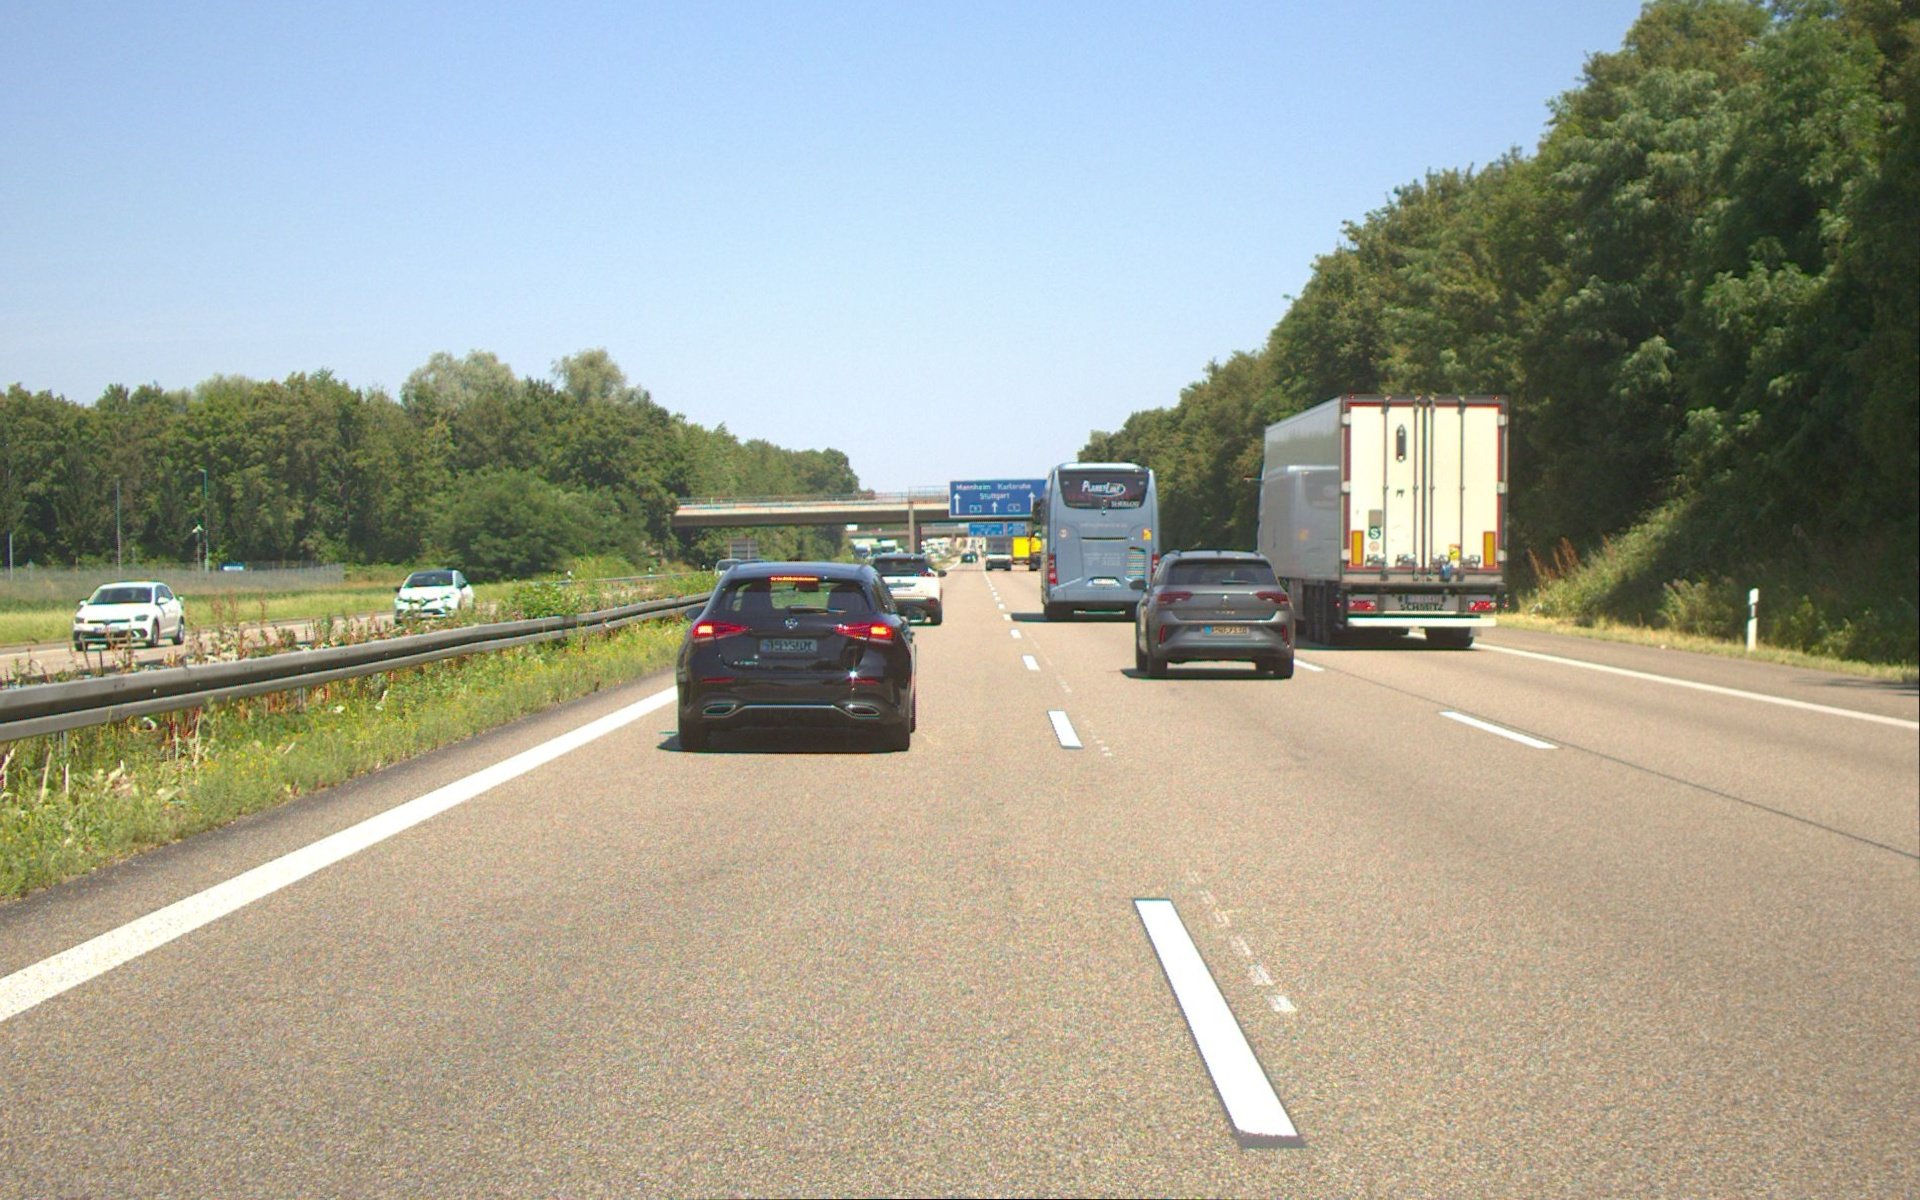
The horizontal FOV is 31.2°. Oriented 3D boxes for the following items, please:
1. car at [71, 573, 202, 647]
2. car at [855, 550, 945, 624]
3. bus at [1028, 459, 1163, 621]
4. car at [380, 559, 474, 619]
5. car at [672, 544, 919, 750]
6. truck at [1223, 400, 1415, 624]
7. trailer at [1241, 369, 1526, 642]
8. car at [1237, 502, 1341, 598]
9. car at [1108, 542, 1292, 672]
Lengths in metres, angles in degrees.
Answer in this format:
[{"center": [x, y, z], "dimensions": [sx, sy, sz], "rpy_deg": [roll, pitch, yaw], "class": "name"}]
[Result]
[{"center": [-18.091, 0.194, 75.700], "dimensions": [1.799, 1.527, 4.632], "rpy_deg": [-1, 1, -1], "class": "car"}, {"center": [-1.295, -0.309, 74.510], "dimensions": [1.899, 1.527, 4.242], "rpy_deg": [0, 1, -1], "class": "car"}, {"center": [3.142, -1.418, 82.641], "dimensions": [2.802, 3.584, 12.474], "rpy_deg": [0, 1, 0], "class": "bus"}, {"center": [-14.307, -0.304, 92.517], "dimensions": [1.799, 1.527, 4.483], "rpy_deg": [-1, 1, 0], "class": "car"}, {"center": [-1.234, 0.310, 27.293], "dimensions": [1.799, 1.497, 4.242], "rpy_deg": [0, 1, -1], "class": "car"}, {"center": [7.008, -1.708, 67.929], "dimensions": [3.047, 4.200, 6.049], "rpy_deg": [0, 1, -1], "class": "truck"}, {"center": [7.120, -1.574, 60.130], "dimensions": [3.039, 4.210, 13.837], "rpy_deg": [0, 1, -1], "class": "trailer"}, {"center": [7.487, -1.140, 78.505], "dimensions": [1.899, 2.113, 4.242], "rpy_deg": [0, 1, -1], "class": "car"}, {"center": [2.938, 0.040, 43.019], "dimensions": [1.899, 1.527, 4.760], "rpy_deg": [0, 1, -1], "class": "car"}]
